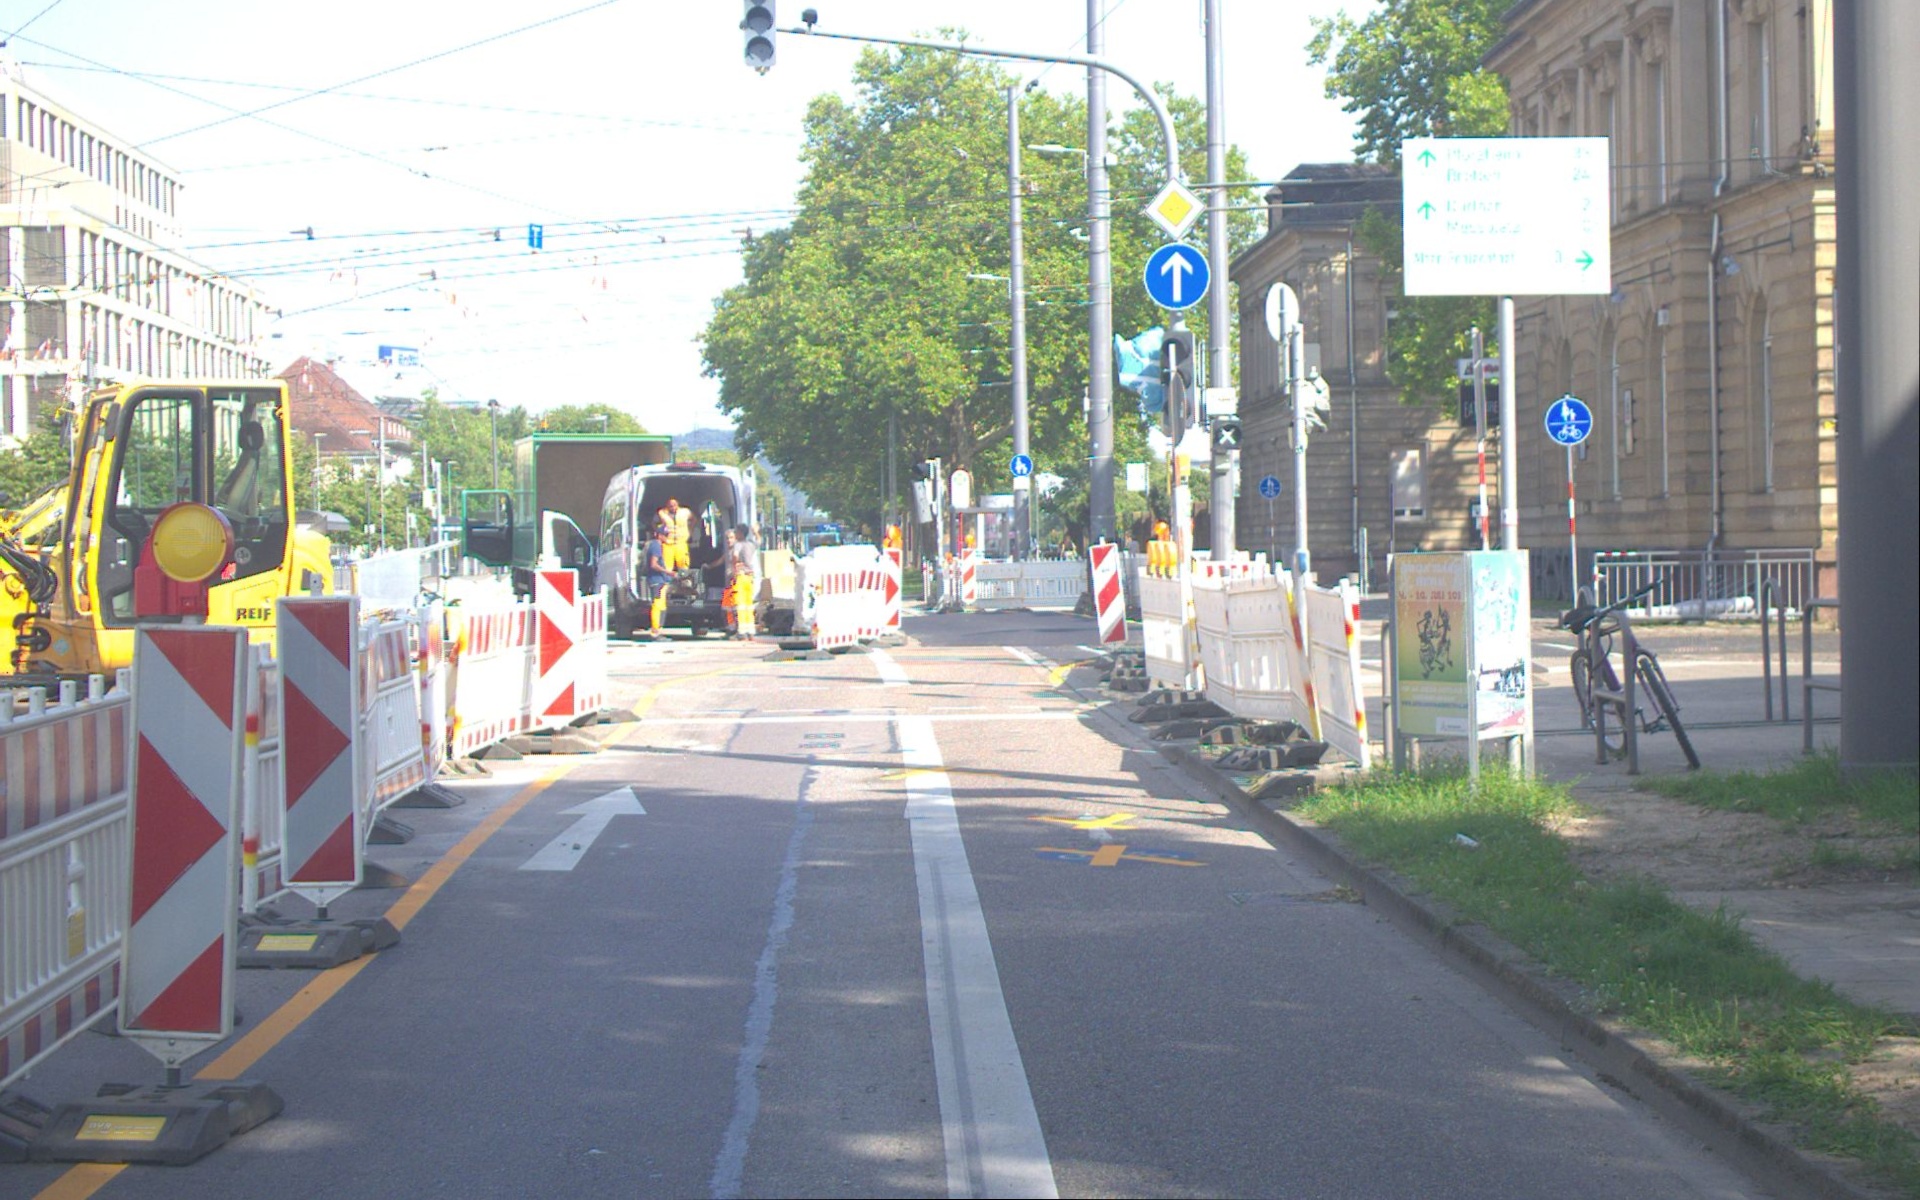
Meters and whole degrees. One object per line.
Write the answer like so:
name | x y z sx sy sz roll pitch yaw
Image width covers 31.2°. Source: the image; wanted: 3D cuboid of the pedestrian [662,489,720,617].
pedestrian | -4.260 -0.746 54.522 0.734 2.007 0.907 -2 1 4

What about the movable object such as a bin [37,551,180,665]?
movable object such as a bin | -9.156 0.067 37.056 0.750 1.166 2.290 -1 1 5

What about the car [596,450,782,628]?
car | -4.467 -0.968 55.916 2.224 2.720 5.172 -1 1 -13

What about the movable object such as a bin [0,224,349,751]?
movable object such as a bin | -7.276 -0.708 22.456 6.142 3.334 2.117 -1 1 -21

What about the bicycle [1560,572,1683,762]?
bicycle | 3.638 0.351 18.978 0.410 0.983 1.376 -1 1 1

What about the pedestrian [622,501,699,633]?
pedestrian | -4.617 -0.519 53.066 0.735 2.007 0.906 -1 1 30

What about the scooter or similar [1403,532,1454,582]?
scooter or similar | 11.998 -1.102 87.997 1.251 1.205 0.423 -3 3 -26

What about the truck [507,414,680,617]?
truck | -7.258 -1.622 67.180 2.673 3.666 8.216 -2 1 -10

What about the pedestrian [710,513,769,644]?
pedestrian | -3.423 -0.334 53.449 0.734 2.007 0.907 -2 1 5

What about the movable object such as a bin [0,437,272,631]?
movable object such as a bin | -19.326 -1.476 76.067 3.508 3.999 9.031 -1 1 22

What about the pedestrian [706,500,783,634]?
pedestrian | -3.288 -0.505 52.515 0.735 2.007 0.905 -1 1 32
